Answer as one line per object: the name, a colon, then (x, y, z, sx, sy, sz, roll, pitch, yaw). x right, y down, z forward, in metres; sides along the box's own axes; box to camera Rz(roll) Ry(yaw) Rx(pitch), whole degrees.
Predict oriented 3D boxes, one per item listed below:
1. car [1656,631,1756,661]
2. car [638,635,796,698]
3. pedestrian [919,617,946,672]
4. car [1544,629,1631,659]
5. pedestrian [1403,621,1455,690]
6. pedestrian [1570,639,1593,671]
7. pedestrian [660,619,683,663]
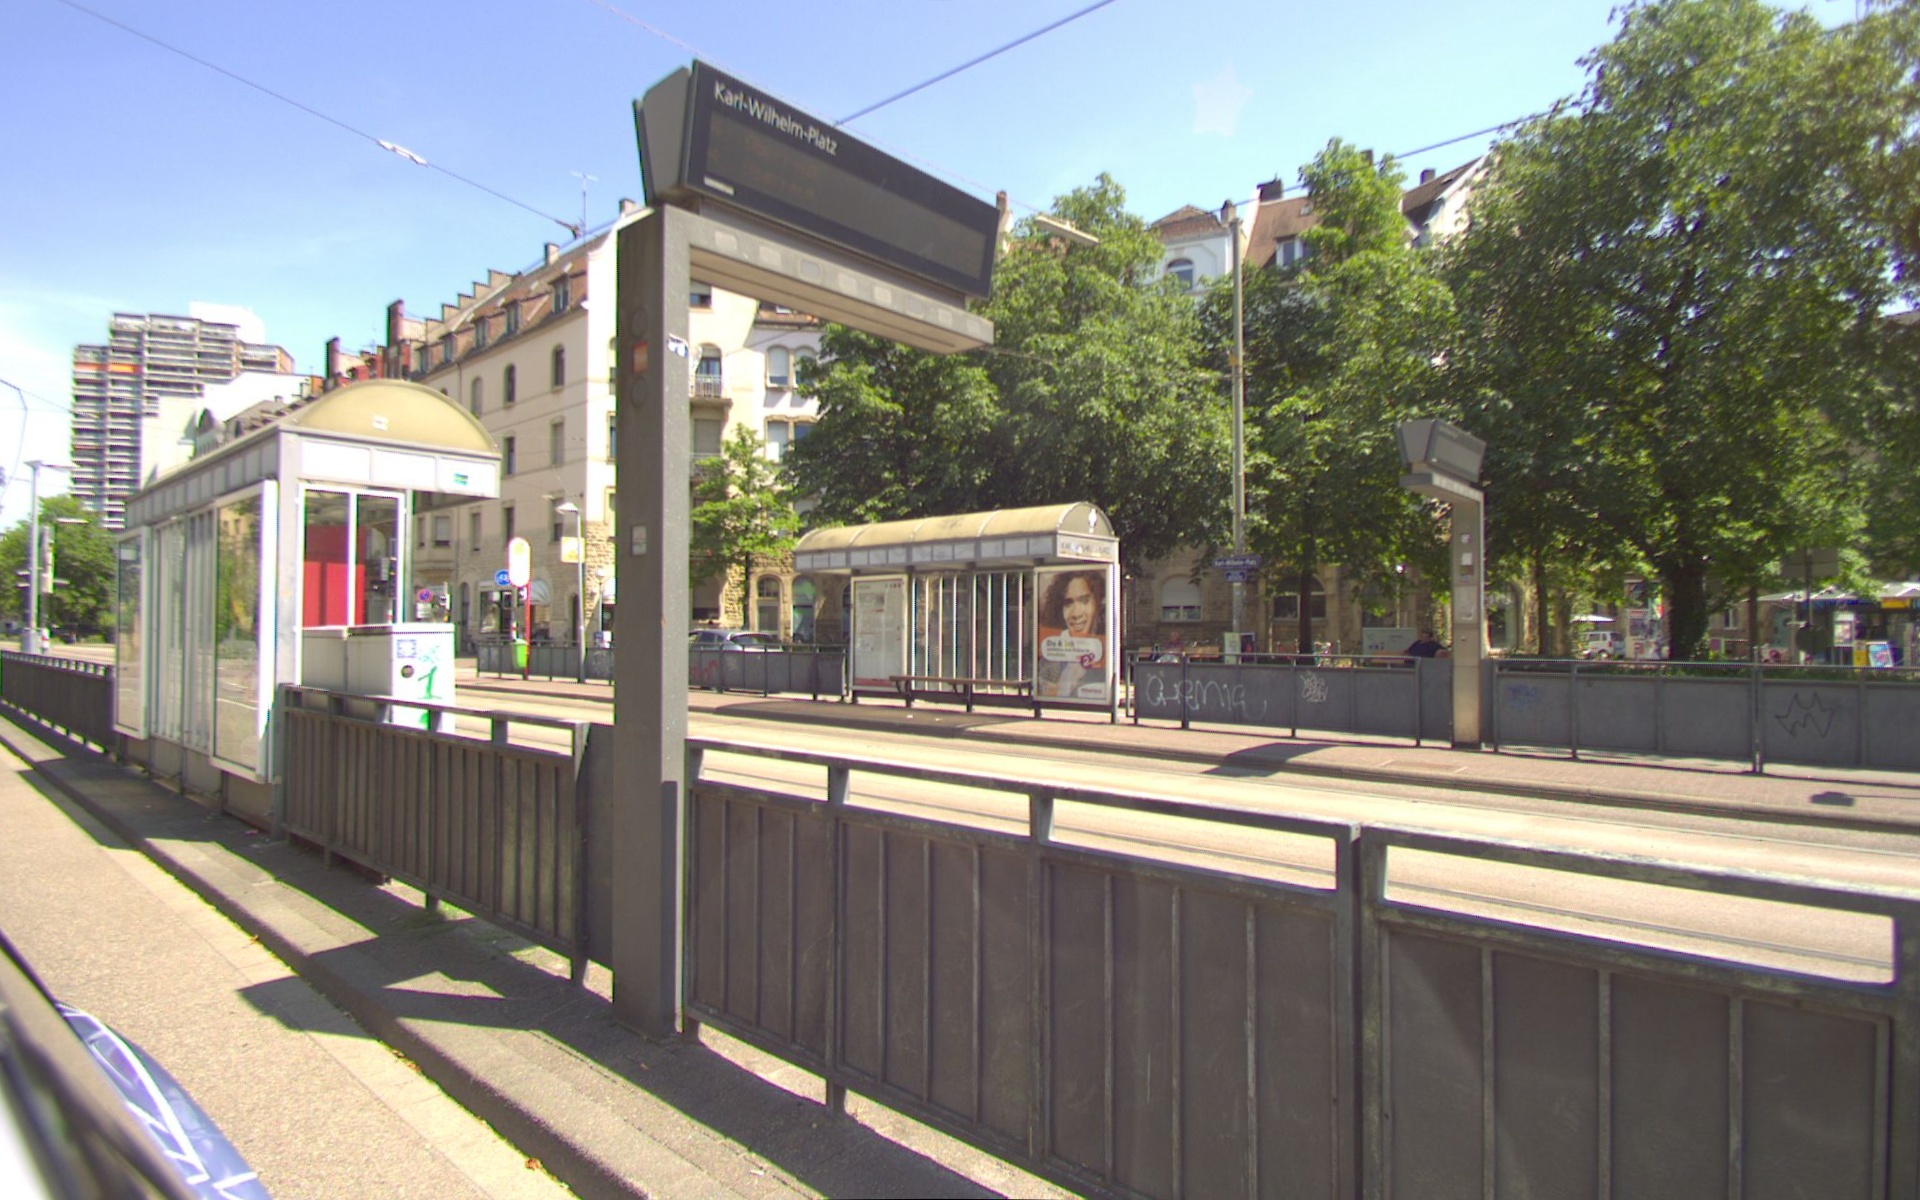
car: (40.152, 2.451, 54.553, 1.665, 1.512, 4.012, 1, -2, -29)
car: (-5.671, 1.477, 23.434, 3.847, 1.320, 1.675, -2, -3, 42)
pedestrian: (-0.736, 1.182, 27.013, 0.519, 1.452, 0.531, -1, -3, 32)
car: (37.352, 2.619, 60.323, 1.780, 1.711, 4.012, 1, -2, -29)
pedestrian: (9.268, 1.076, 20.006, 0.811, 1.327, 0.653, 2, -3, -42)
pedestrian: (26.977, 2.373, 43.916, 0.691, 1.360, 0.605, 2, -3, -37)
pedestrian: (-9.610, 1.357, 33.748, 0.519, 1.452, 0.531, -1, -3, 33)
